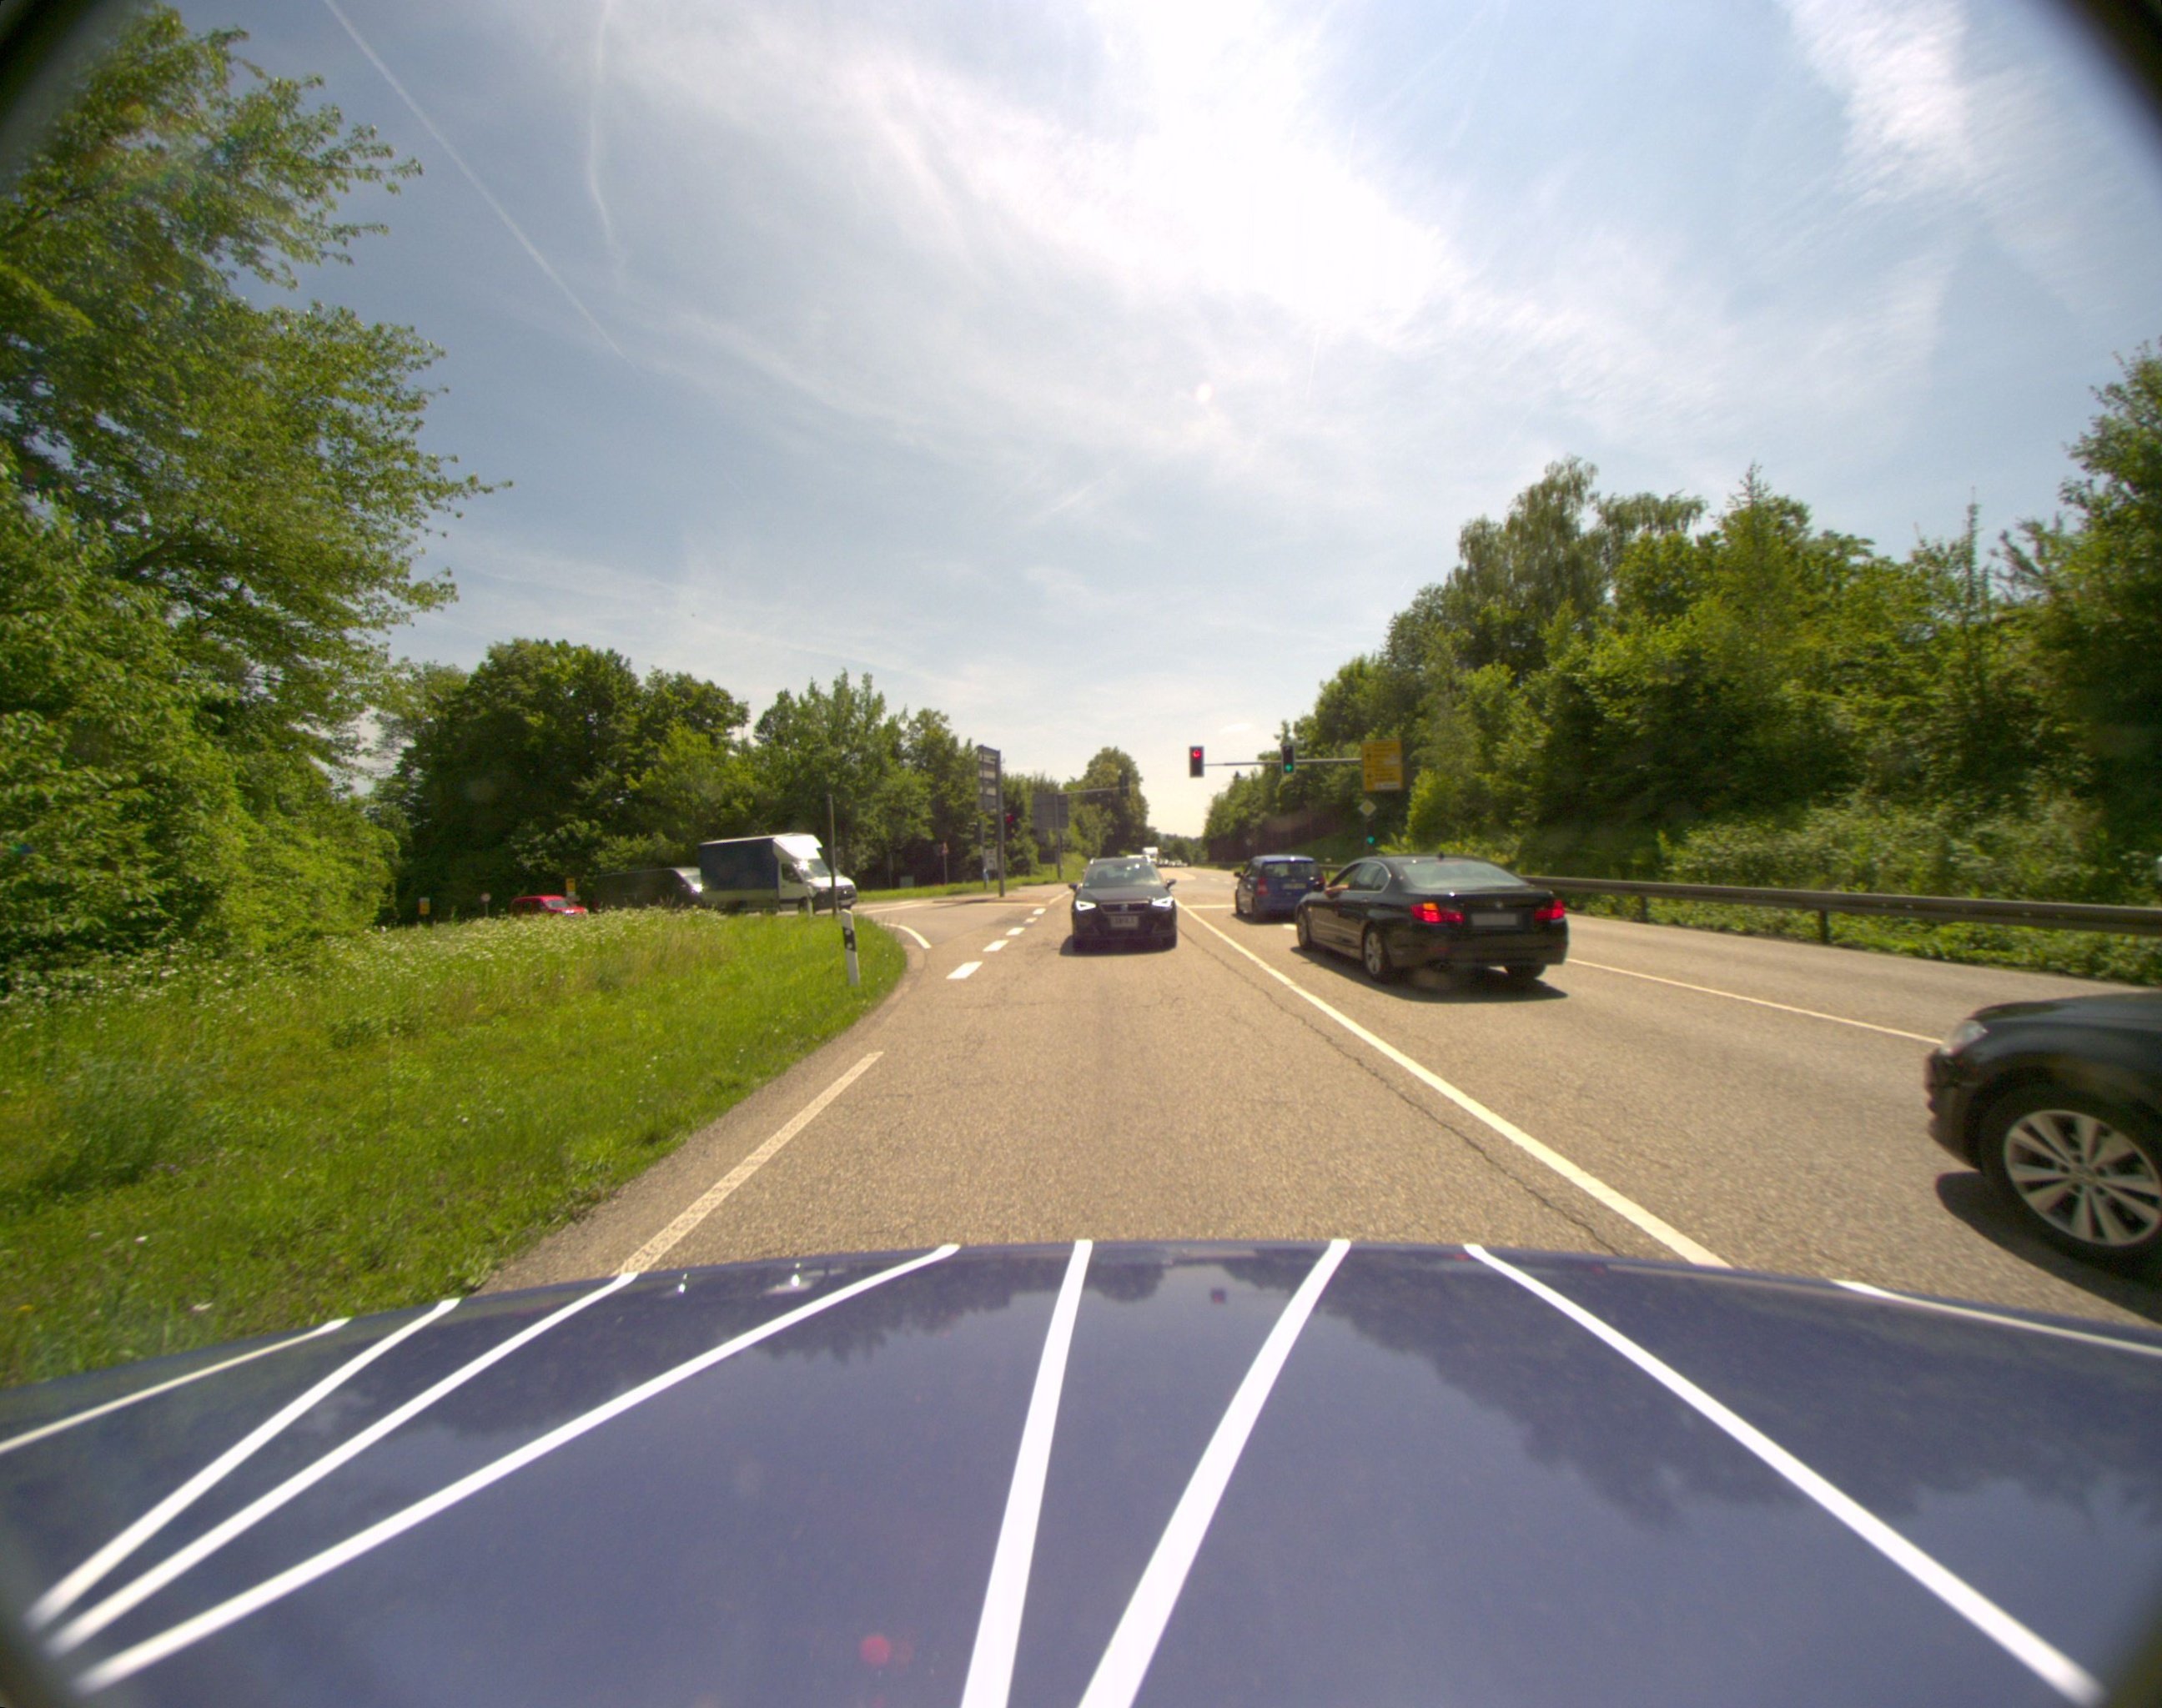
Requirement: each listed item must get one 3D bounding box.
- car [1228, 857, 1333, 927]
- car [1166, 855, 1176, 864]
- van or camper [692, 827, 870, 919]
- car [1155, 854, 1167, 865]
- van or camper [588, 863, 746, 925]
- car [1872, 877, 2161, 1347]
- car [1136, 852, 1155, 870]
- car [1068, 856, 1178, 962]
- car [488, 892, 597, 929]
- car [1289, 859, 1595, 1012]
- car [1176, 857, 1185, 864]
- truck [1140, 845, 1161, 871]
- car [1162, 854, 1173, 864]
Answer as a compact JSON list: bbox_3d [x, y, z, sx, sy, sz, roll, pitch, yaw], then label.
[{"bbox_3d":[4.570,0.808,17.919,1.570,1.431,3.771,-2,0,2],"label":"car"},{"bbox_3d":[19.751,1.144,166.706,1.997,1.756,4.002,-2,0,6],"label":"car"},{"bbox_3d":[-11.889,0.808,29.871,7.236,3.193,2.108,-3,1,28],"label":"van or camper"},{"bbox_3d":[14.119,0.942,134.046,1.997,1.756,4.002,-2,0,6],"label":"car"},{"bbox_3d":[-20.534,1.986,37.683,7.221,2.462,2.413,-5,-1,18],"label":"van or camper"},{"bbox_3d":[4.185,0.828,1.137,1.686,1.406,4.181,-1,1,1],"label":"car"},{"bbox_3d":[7.711,0.775,90.527,1.997,2.002,4.002,-3,0,8],"label":"car"},{"bbox_3d":[0.729,0.870,13.898,1.626,1.535,4.000,-4,0,2],"label":"car"},{"bbox_3d":[-28.590,2.990,40.347,5.112,1.598,1.852,-4,1,17],"label":"car"},{"bbox_3d":[4.172,0.817,9.771,1.786,1.438,4.641,-2,0,1],"label":"car"},{"bbox_3d":[25.485,1.594,194.814,1.997,1.756,4.002,-2,0,6],"label":"car"},{"bbox_3d":[11.042,0.538,120.134,2.838,3.794,8.454,-2,0,7],"label":"truck"},{"bbox_3d":[16.684,0.971,146.952,1.997,1.756,4.002,-2,0,6],"label":"car"}]
